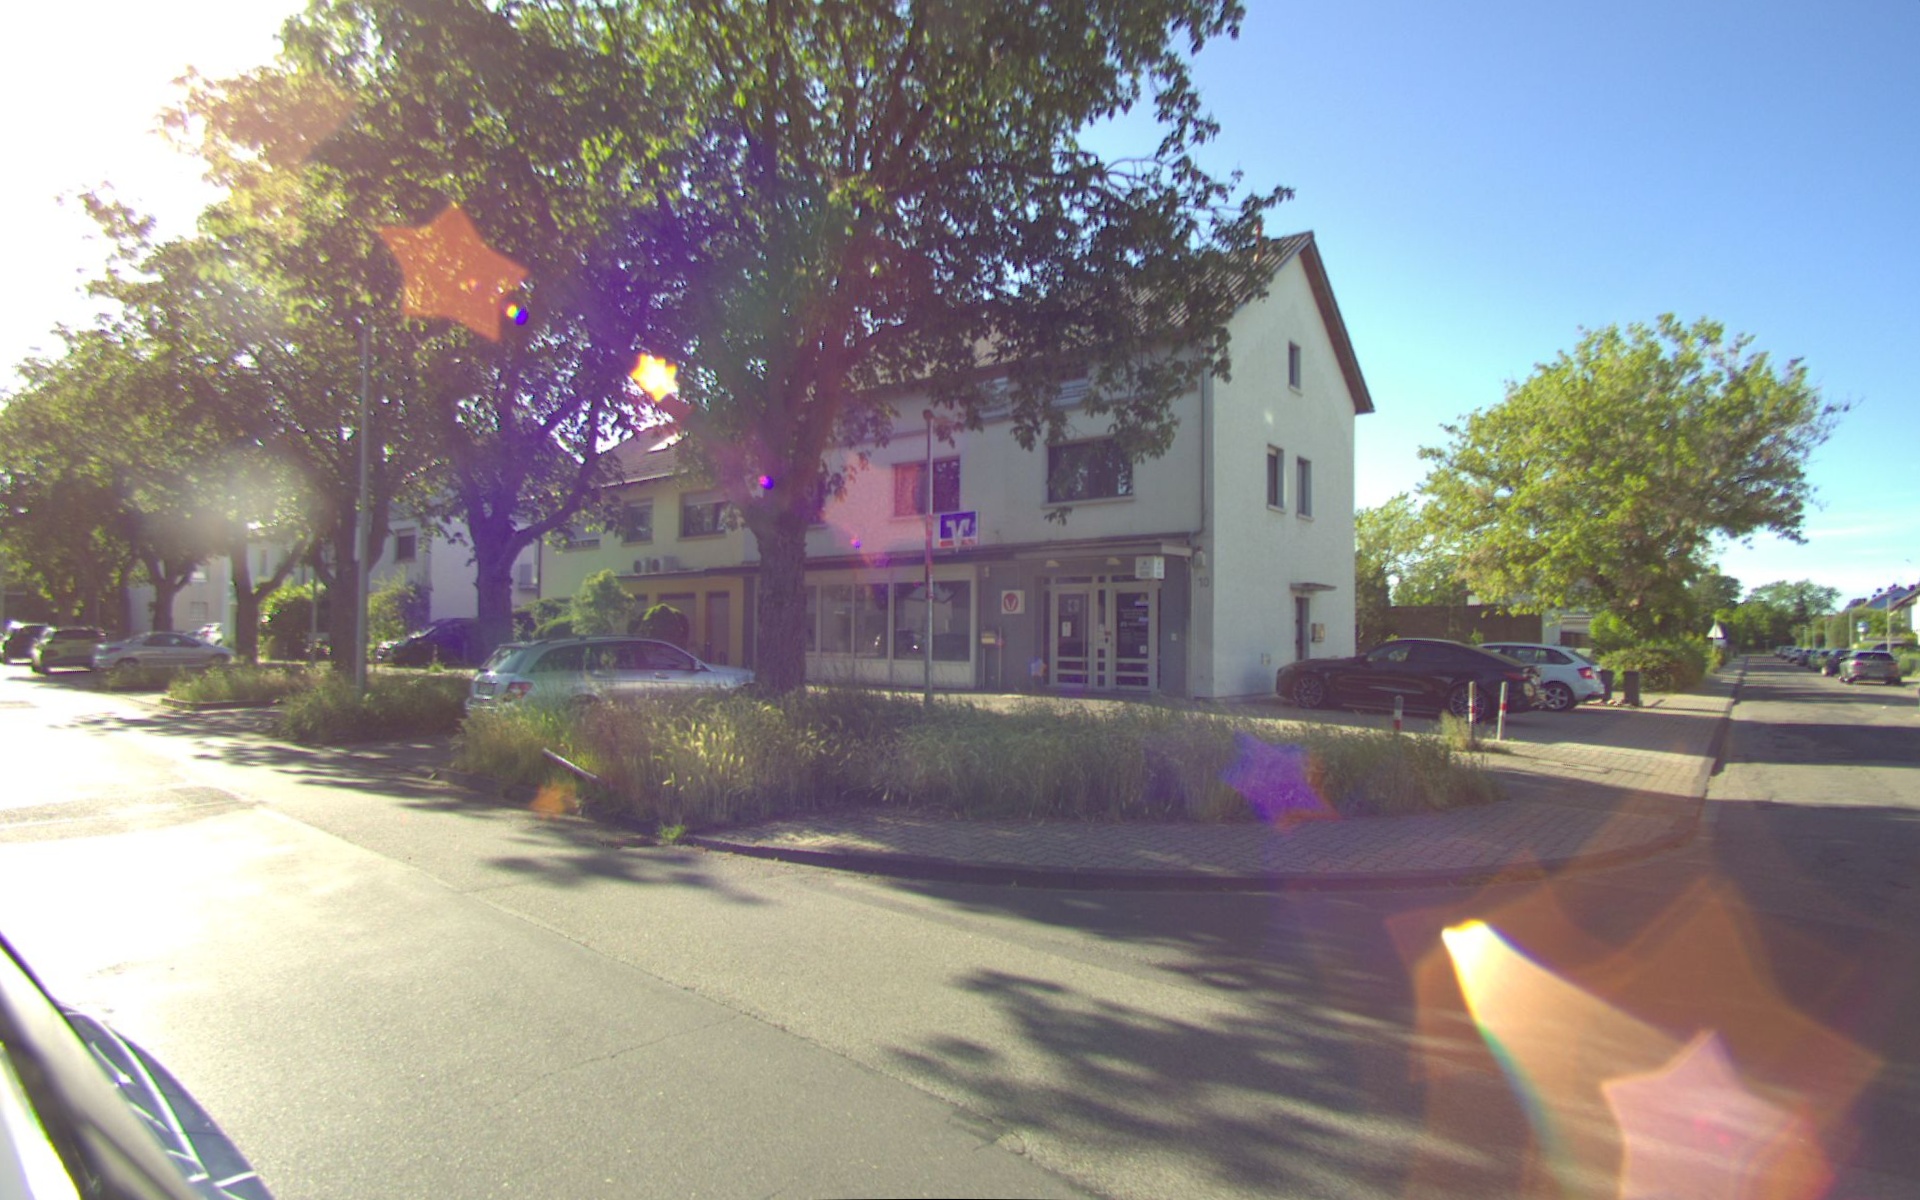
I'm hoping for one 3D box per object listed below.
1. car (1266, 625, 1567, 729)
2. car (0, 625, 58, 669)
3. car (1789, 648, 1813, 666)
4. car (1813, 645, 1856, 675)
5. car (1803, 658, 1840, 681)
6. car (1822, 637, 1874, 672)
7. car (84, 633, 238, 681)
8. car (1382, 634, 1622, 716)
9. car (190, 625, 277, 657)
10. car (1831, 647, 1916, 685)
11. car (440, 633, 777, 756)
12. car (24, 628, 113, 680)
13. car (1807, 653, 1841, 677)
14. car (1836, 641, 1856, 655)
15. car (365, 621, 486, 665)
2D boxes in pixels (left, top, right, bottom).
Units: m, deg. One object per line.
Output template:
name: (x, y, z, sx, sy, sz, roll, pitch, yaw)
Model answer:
car: (8.601, 1.366, 19.283, 4.901, 1.575, 1.975, 1, -1, 37)
car: (-39.004, 1.927, 42.175, 4.056, 1.746, 1.791, -2, -3, 44)
car: (85.699, 5.765, 103.117, 1.840, 1.593, 3.961, 1, 0, 41)
car: (55.283, 3.745, 64.018, 1.999, 1.593, 4.842, 1, 0, 41)
car: (63.765, 5.122, 74.895, 1.999, 1.593, 4.842, -2, -3, 41)
car: (47.178, 2.859, 53.834, 1.999, 1.593, 4.842, 1, 0, 41)
car: (-25.789, 1.814, 32.762, 1.622, 1.333, 3.651, -1, 0, 36)
car: (12.423, 1.644, 23.345, 4.662, 1.539, 1.854, 1, -1, 37)
car: (-44.702, 2.472, 62.315, 1.999, 1.696, 3.946, -1, 1, 41)
car: (38.895, 2.762, 43.205, 1.995, 1.496, 4.852, -1, -3, 34)
car: (-5.050, 1.256, 15.020, 1.999, 1.426, 4.336, -1, -1, 41)
car: (-30.549, 1.795, 34.662, 3.696, 1.551, 1.971, -1, 1, 44)
car: (69.054, 5.191, 80.912, 1.999, 1.593, 4.842, 1, 0, 41)
car: (108.087, 5.839, 123.507, 1.840, 1.593, 3.961, 1, 0, 41)
car: (-20.414, 1.656, 38.748, 1.692, 1.577, 3.721, -1, -3, 45)
